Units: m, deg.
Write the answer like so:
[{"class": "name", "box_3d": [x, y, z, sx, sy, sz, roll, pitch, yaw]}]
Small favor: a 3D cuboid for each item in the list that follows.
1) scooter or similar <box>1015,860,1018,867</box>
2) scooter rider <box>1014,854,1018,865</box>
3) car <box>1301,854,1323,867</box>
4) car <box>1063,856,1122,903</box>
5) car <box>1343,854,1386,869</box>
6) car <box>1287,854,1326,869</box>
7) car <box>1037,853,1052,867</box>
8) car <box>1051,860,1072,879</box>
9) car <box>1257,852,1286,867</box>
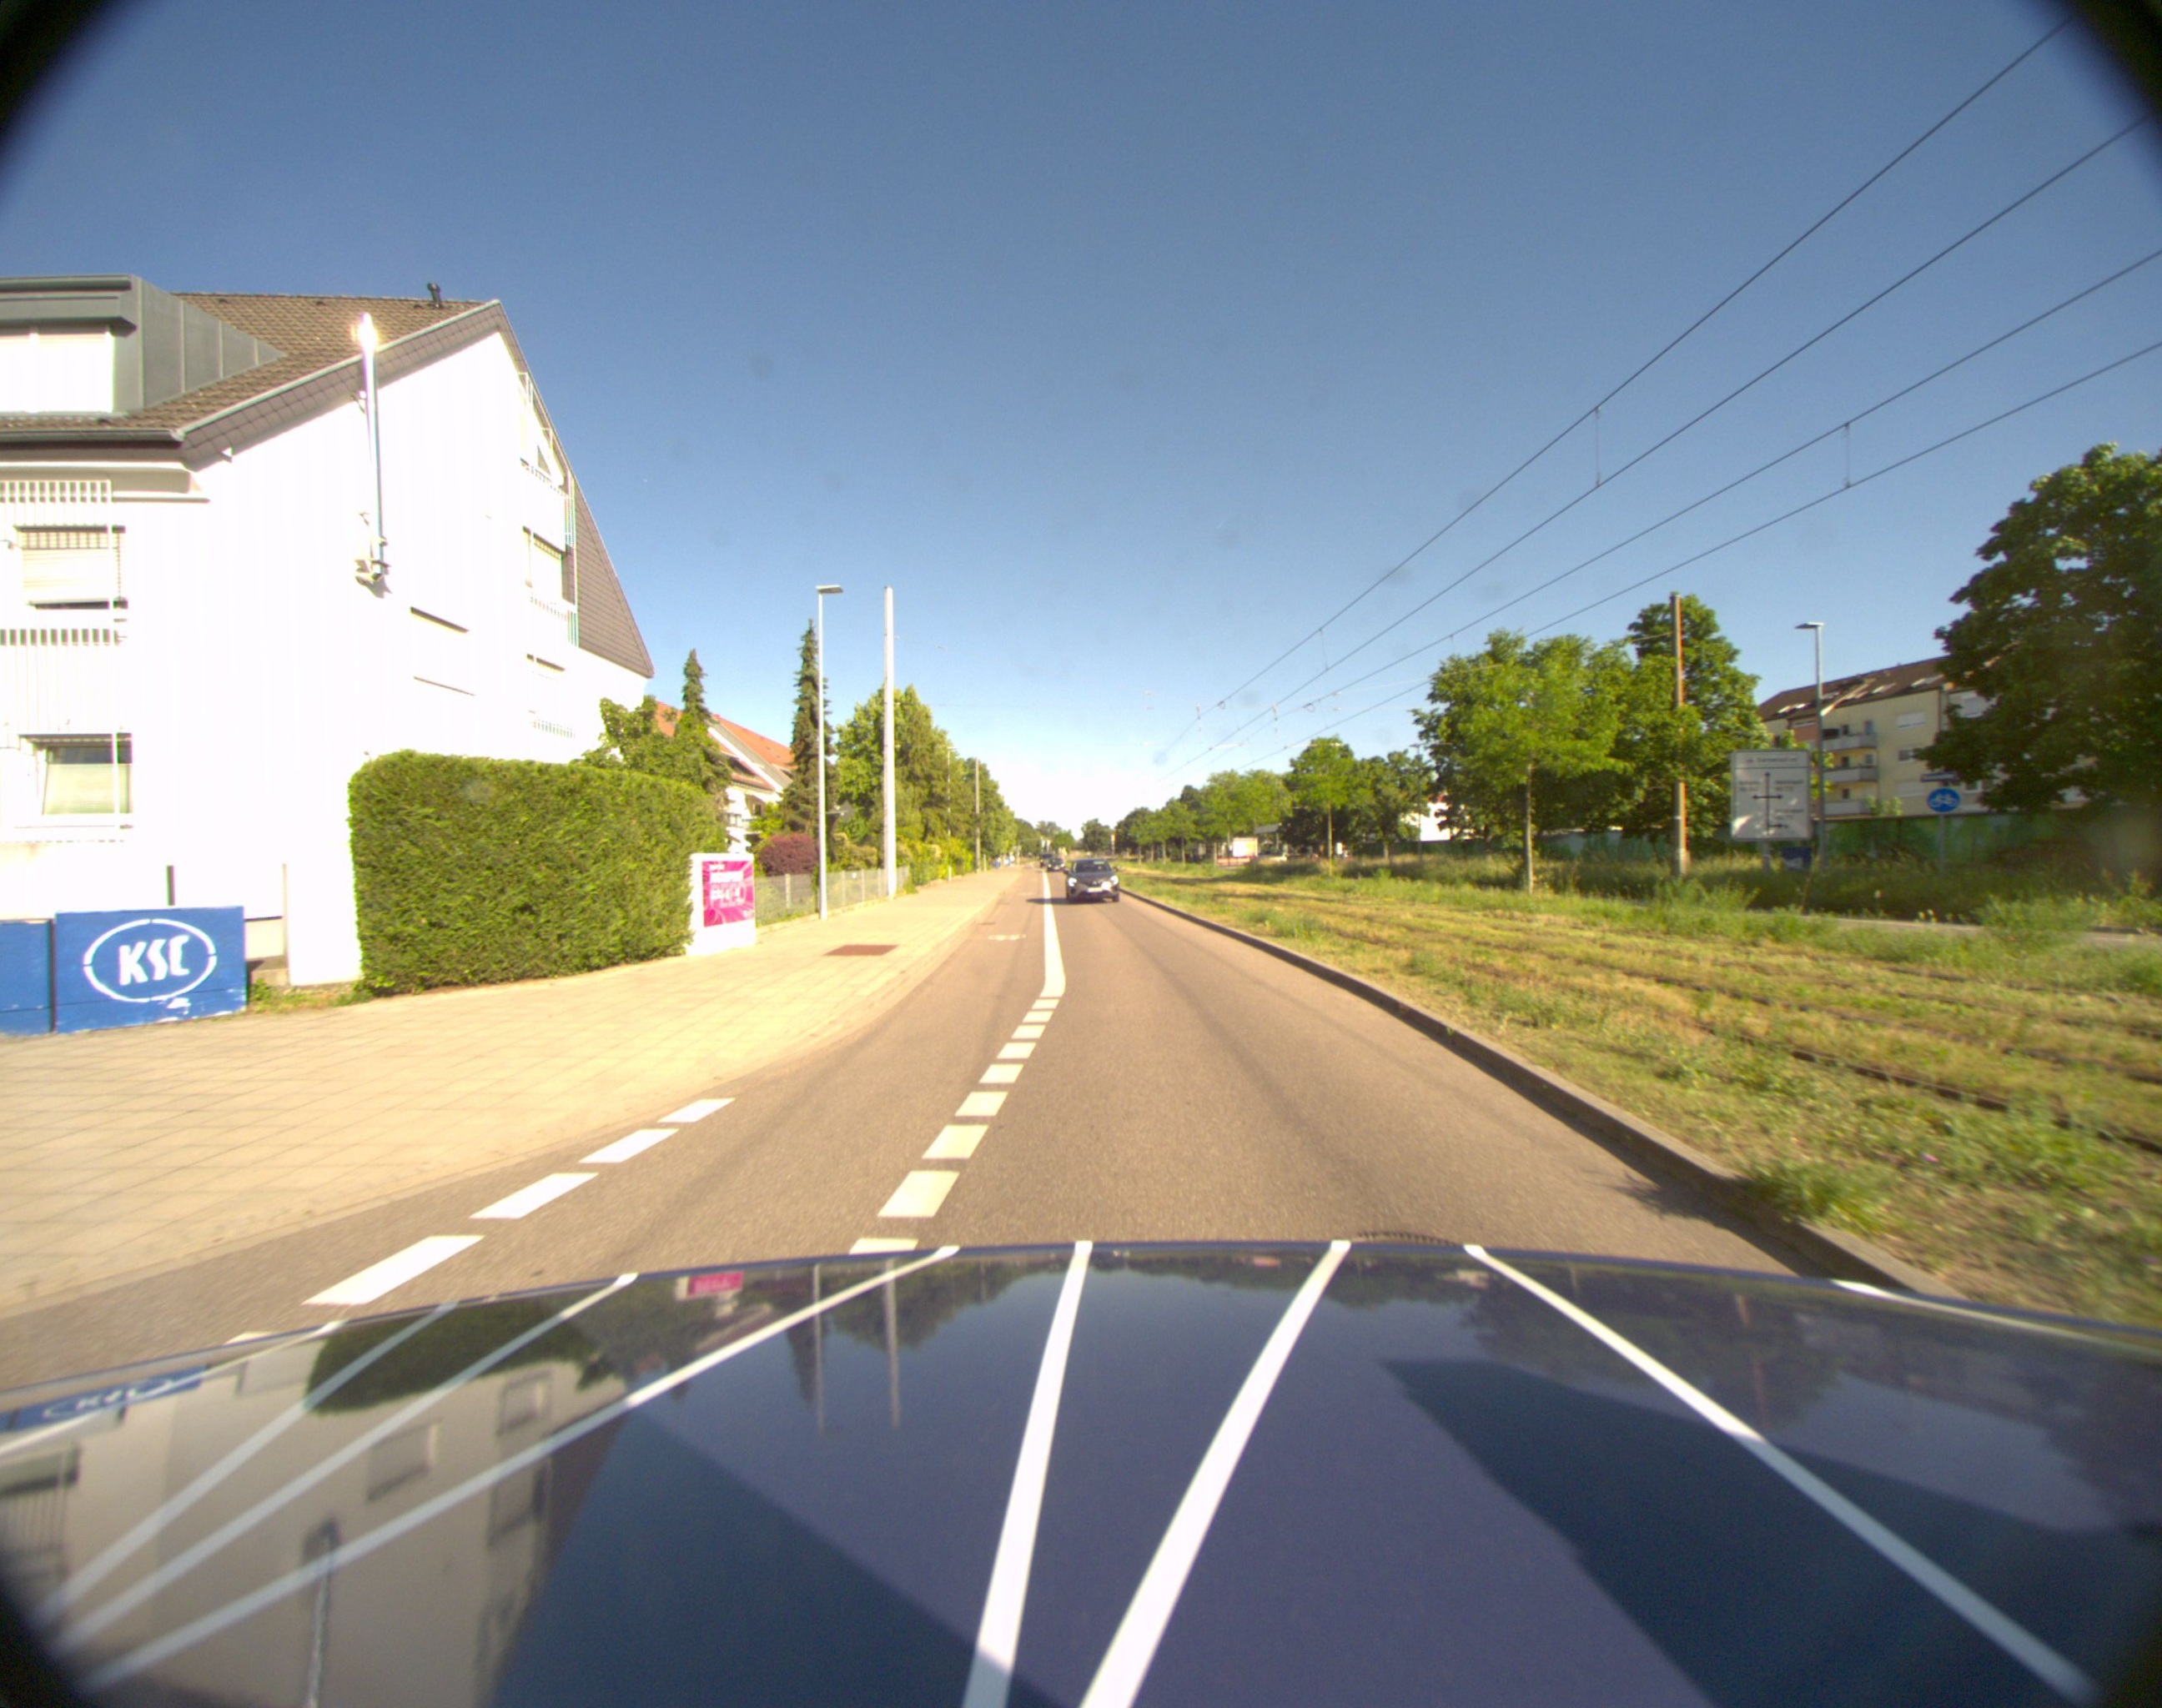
[{"class": "scooter or similar", "box_3d": [-10.141, 1.492, 119.241, 0.349, 1.130, 1.208, -1, 0, -4]}, {"class": "scooter rider", "box_3d": [-10.272, 0.879, 119.246, 0.552, 1.756, 0.599, -2, 0, -4]}, {"class": "car", "box_3d": [29.017, 0.776, 95.404, 2.022, 1.499, 4.897, -1, 1, 25]}, {"class": "car", "box_3d": [0.354, 0.907, 28.813, 1.868, 1.614, 3.999, -2, 0, -4]}, {"class": "car", "box_3d": [30.063, 0.785, 80.626, 3.828, 1.500, 1.704, -2, 0, -2]}, {"class": "car", "box_3d": [24.484, 0.810, 82.599, 3.712, 1.503, 1.640, -1, 0, -6]}, {"class": "car", "box_3d": [-5.373, 0.875, 111.861, 1.999, 1.824, 3.999, -3, 1, -2]}, {"class": "car", "box_3d": [-2.025, 1.558, 77.957, 1.999, 1.824, 3.999, -3, 1, -2]}, {"class": "car", "box_3d": [24.931, 0.716, 99.495, 1.893, 1.899, 4.821, -2, -1, 37]}]
